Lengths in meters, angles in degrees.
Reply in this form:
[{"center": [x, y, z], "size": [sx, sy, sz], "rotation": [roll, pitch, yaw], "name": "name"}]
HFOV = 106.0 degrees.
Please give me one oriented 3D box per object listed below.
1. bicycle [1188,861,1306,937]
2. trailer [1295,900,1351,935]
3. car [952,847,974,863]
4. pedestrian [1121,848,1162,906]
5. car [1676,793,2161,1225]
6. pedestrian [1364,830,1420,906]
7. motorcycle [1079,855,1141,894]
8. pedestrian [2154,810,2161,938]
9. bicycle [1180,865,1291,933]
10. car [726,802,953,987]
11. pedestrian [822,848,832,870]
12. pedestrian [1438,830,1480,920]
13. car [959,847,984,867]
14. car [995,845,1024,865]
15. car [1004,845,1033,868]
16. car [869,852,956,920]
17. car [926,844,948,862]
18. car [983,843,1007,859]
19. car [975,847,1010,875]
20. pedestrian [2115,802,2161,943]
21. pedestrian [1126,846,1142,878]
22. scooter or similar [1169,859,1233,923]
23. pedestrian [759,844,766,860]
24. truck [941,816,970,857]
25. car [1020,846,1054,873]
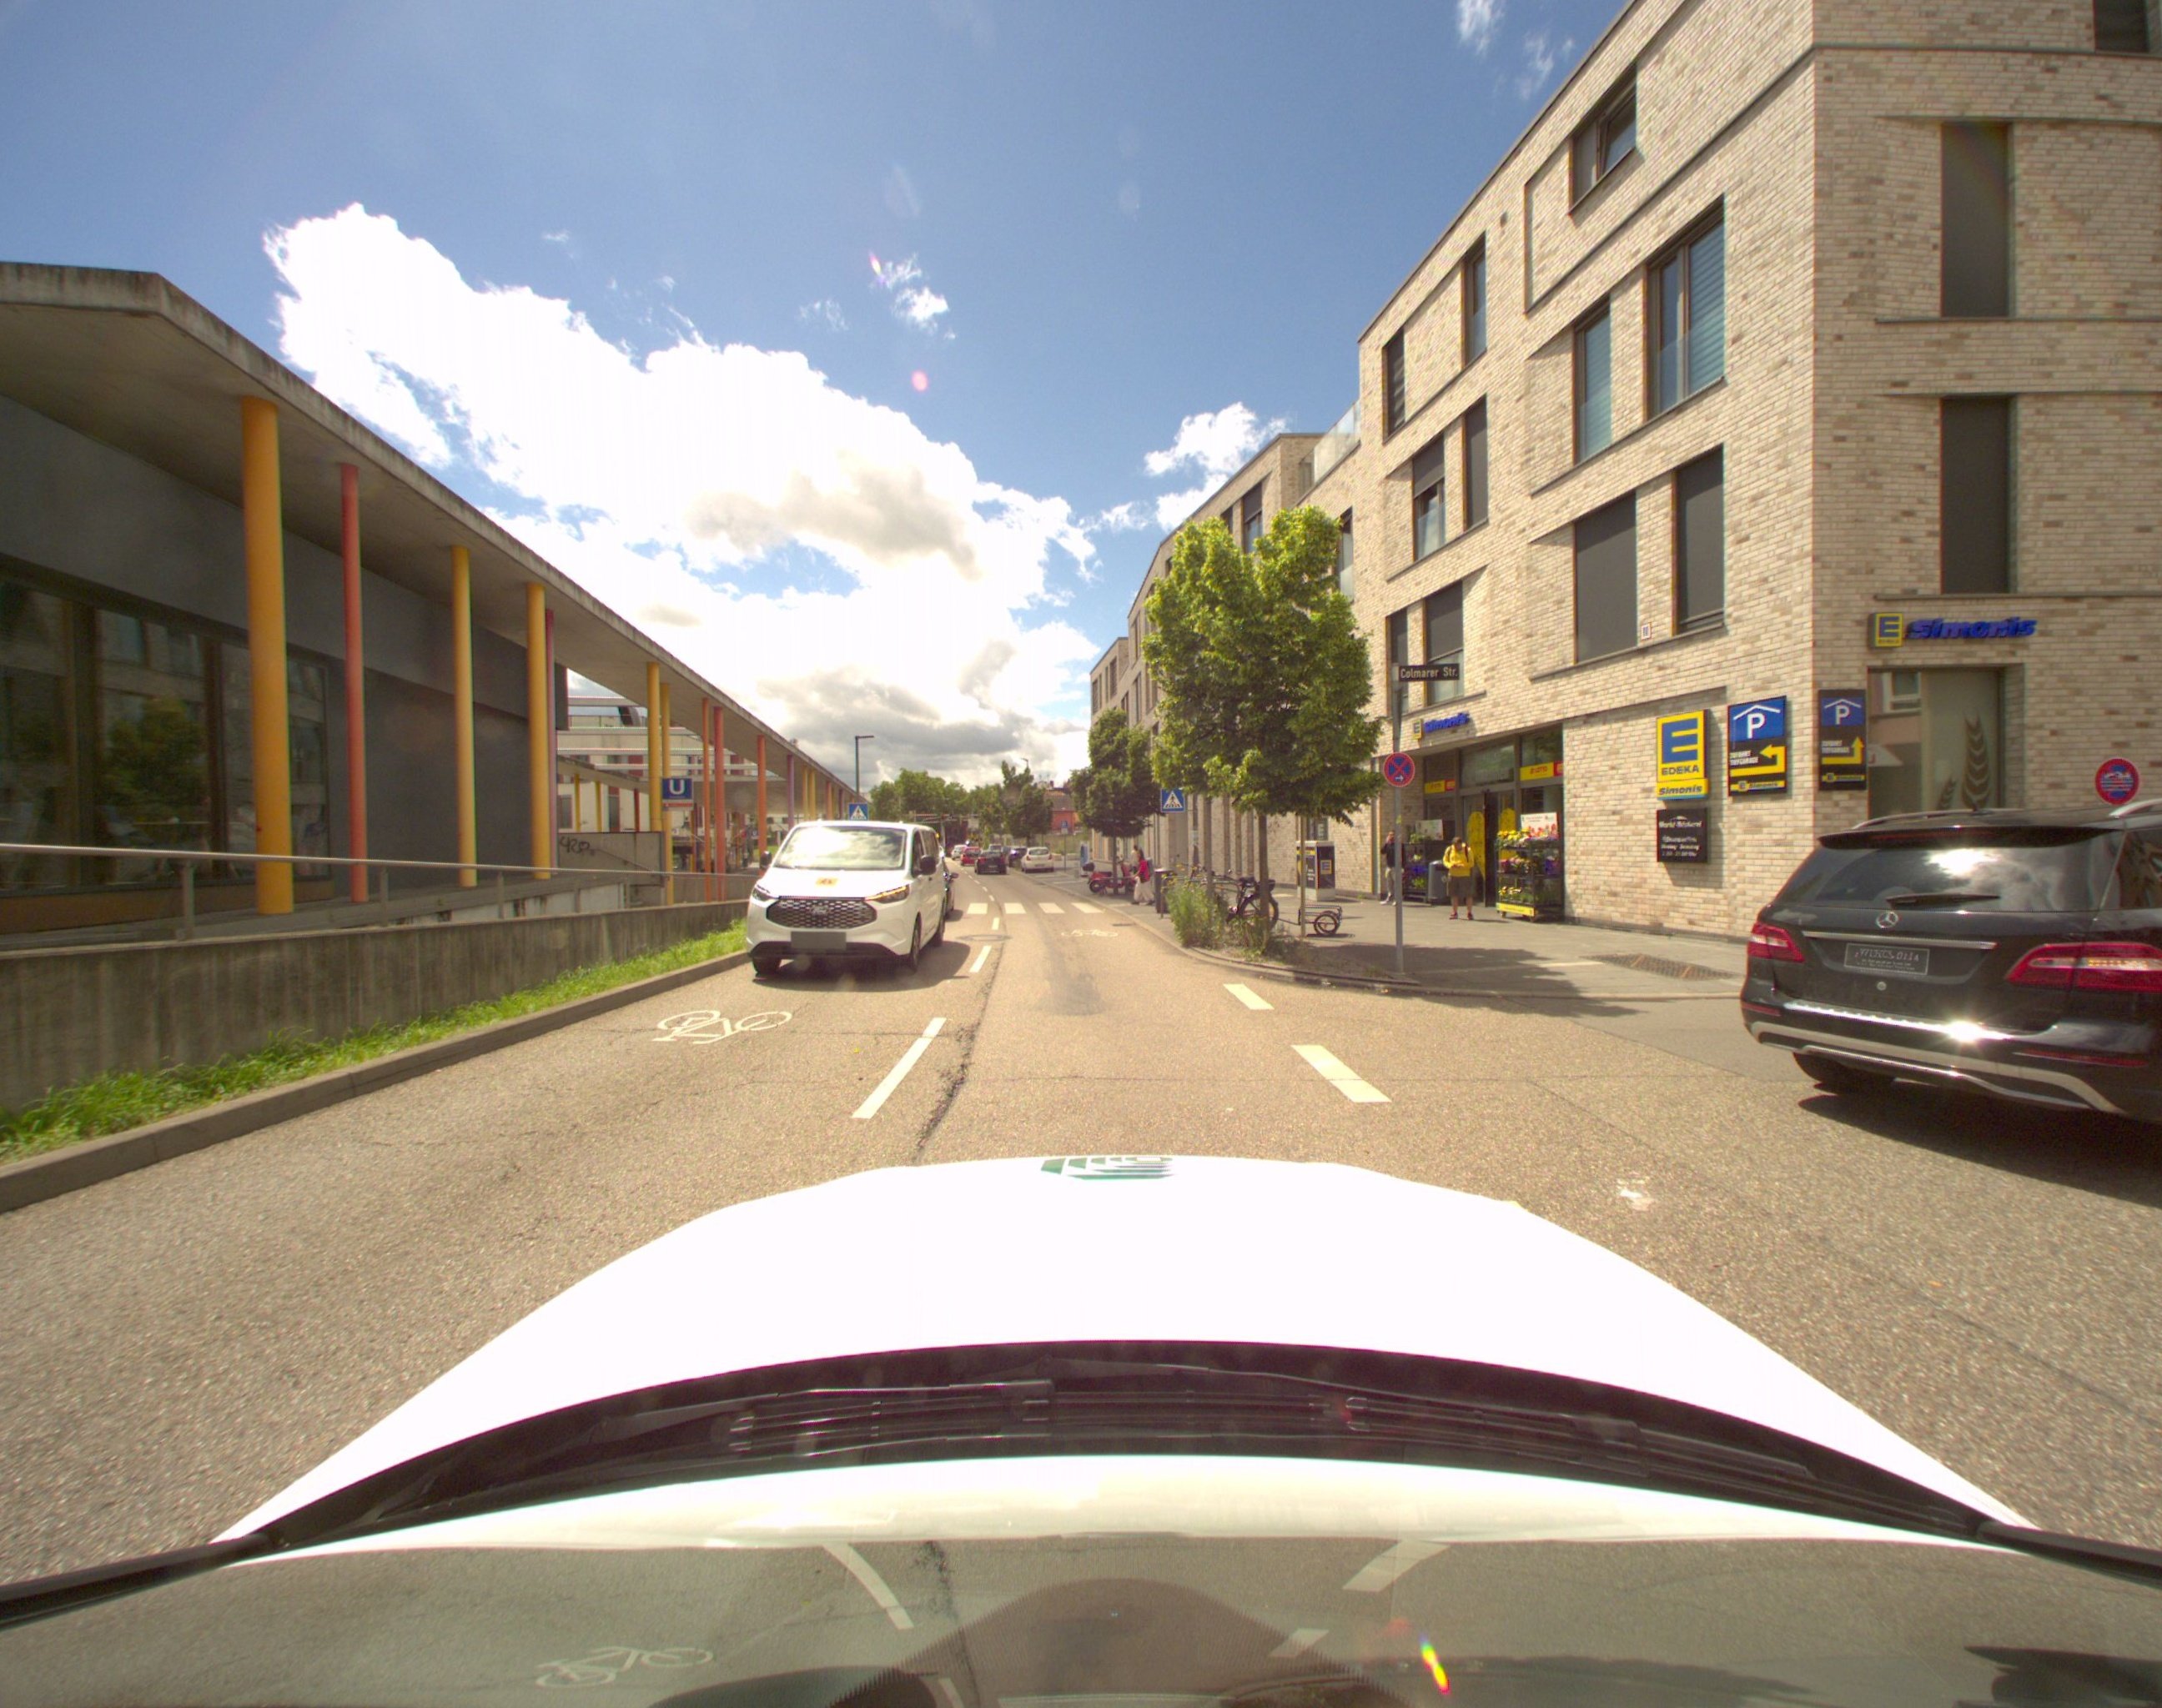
[{"center": [2.833, 0.752, 13.990], "size": [1.819, 1.201, 0.755], "rotation": [-2, 0, -4], "name": "bicycle"}, {"center": [4.099, 1.075, 13.835], "size": [0.717, 0.528, 0.811], "rotation": [0, 0, 0], "name": "trailer"}, {"center": [-11.748, 0.066, 81.145], "size": [1.889, 1.465, 4.052], "rotation": [-2, 0, -12], "name": "car"}, {"center": [1.665, 0.621, 22.481], "size": [0.928, 1.565, 0.811], "rotation": [0, -1, -12], "name": "pedestrian"}, {"center": [6.264, 0.538, 4.748], "size": [4.520, 1.746, 1.992], "rotation": [-2, 0, -12], "name": "car"}, {"center": [7.345, 0.319, 19.260], "size": [1.016, 1.741, 0.656], "rotation": [-1, 0, -14], "name": "pedestrian"}, {"center": [1.030, 0.711, 28.617], "size": [2.039, 1.266, 0.674], "rotation": [-3, 0, 7], "name": "motorcycle"}, {"center": [13.657, 0.249, 9.943], "size": [0.524, 1.573, 0.597], "rotation": [1, -2, -30], "name": "pedestrian"}, {"center": [2.789, 0.793, 14.792], "size": [1.819, 1.131, 0.755], "rotation": [-2, 0, -4], "name": "bicycle"}, {"center": [-3.082, 0.451, 11.712], "size": [1.990, 2.013, 5.385], "rotation": [1, 0, -4], "name": "car"}, {"center": [-20.661, 0.422, 66.194], "size": [0.642, 1.808, 0.591], "rotation": [0, -1, -11], "name": "pedestrian"}, {"center": [7.341, 0.397, 15.805], "size": [0.651, 1.692, 0.635], "rotation": [-1, 0, 30], "name": "pedestrian"}, {"center": [-8.401, 0.203, 62.409], "size": [1.712, 1.393, 3.796], "rotation": [-2, 2, -10], "name": "car"}, {"center": [-5.734, 0.024, 64.804], "size": [1.865, 1.451, 4.627], "rotation": [-2, 1, -10], "name": "car"}, {"center": [-4.504, 0.161, 58.281], "size": [1.692, 1.461, 4.134], "rotation": [-2, 1, -9], "name": "car"}, {"center": [-4.017, 0.701, 20.003], "size": [1.771, 1.464, 4.223], "rotation": [0, 0, -8], "name": "car"}, {"center": [-12.483, -0.104, 70.595], "size": [1.811, 1.469, 3.895], "rotation": [0, 1, -9], "name": "car"}, {"center": [-8.398, -0.292, 79.259], "size": [1.783, 1.451, 4.458], "rotation": [-3, 1, -12], "name": "car"}, {"center": [-5.269, 0.390, 48.112], "size": [1.727, 1.456, 3.795], "rotation": [-2, 2, -10], "name": "car"}, {"center": [13.055, 0.219, 9.708], "size": [0.557, 1.671, 0.808], "rotation": [1, -2, -30], "name": "pedestrian"}, {"center": [2.491, 0.366, 38.451], "size": [0.606, 1.472, 0.790], "rotation": [-2, 1, -2], "name": "pedestrian"}, {"center": [2.449, 0.748, 16.699], "size": [1.194, 1.249, 0.493], "rotation": [-2, 0, -4], "name": "scooter or similar"}, {"center": [-37.845, -0.224, 96.832], "size": [0.642, 1.808, 0.591], "rotation": [0, -1, -11], "name": "pedestrian"}, {"center": [-15.072, -1.977, 97.098], "size": [3.204, 4.536, 8.996], "rotation": [0, -1, -10], "name": "truck"}, {"center": [-2.685, 0.318, 49.133], "size": [1.692, 1.483, 3.787], "rotation": [-2, 1, -8], "name": "car"}]
